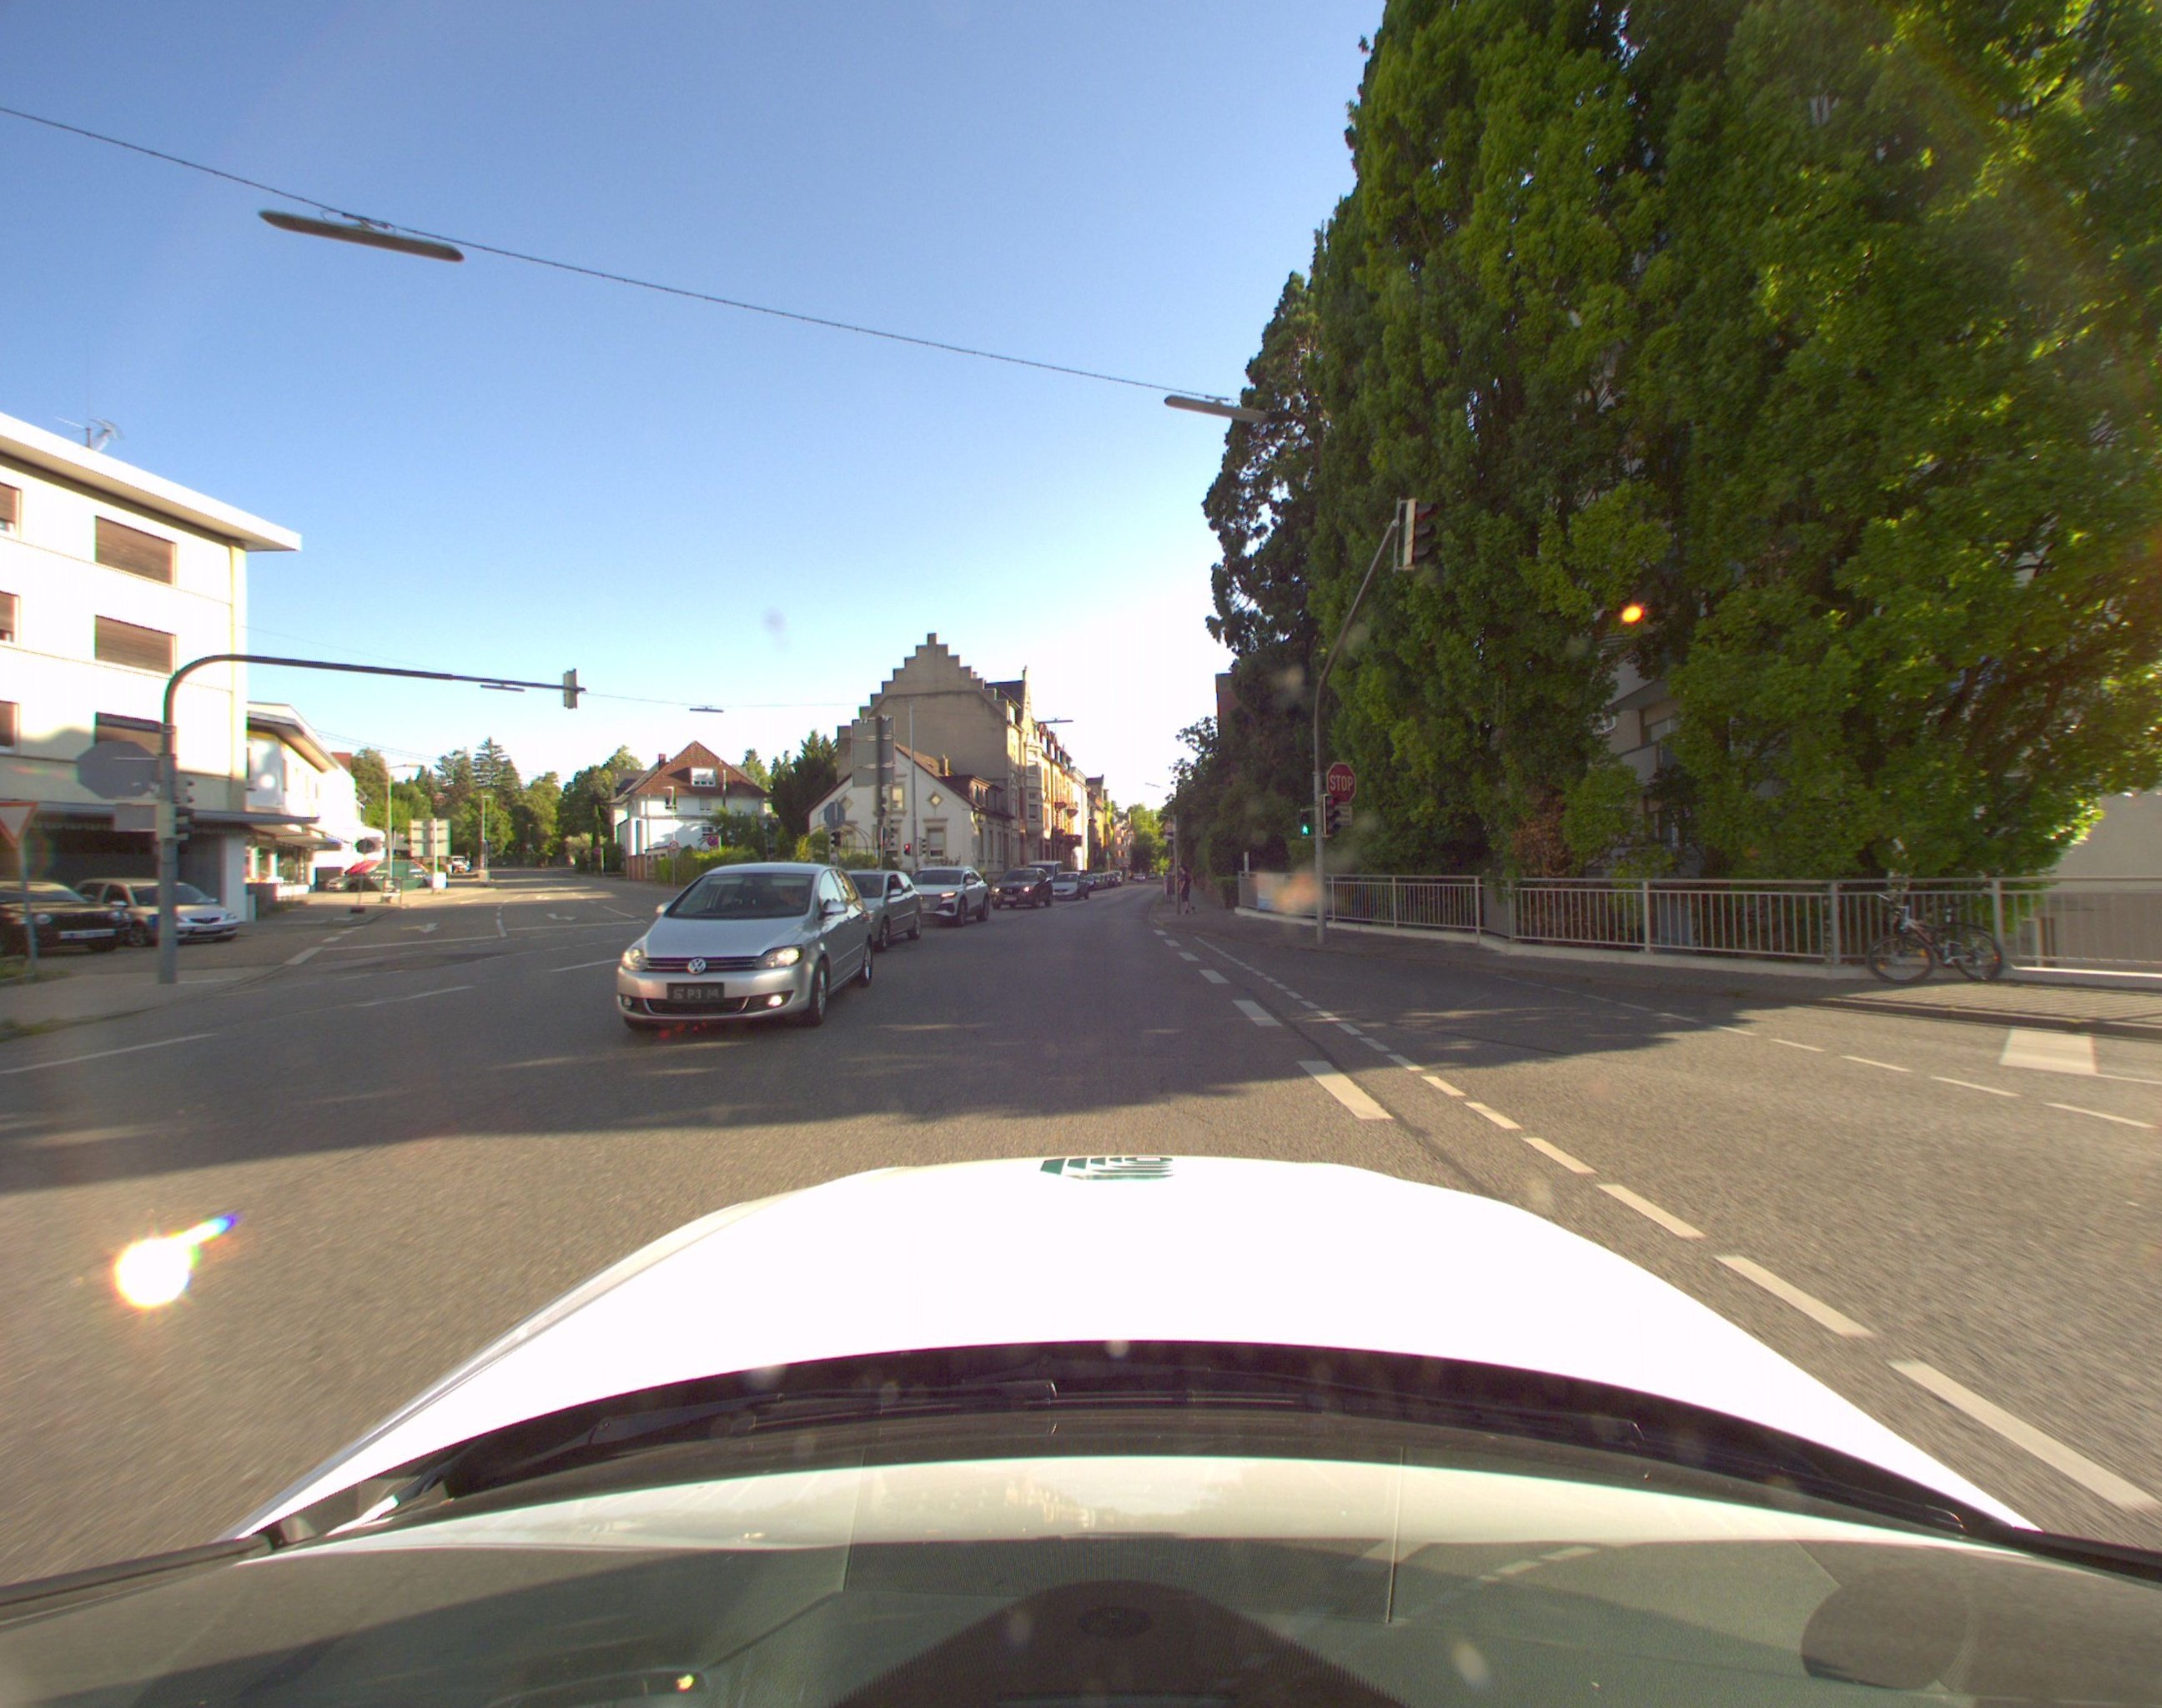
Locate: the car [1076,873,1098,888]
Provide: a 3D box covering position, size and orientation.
[{"bbox_3d":[0.586,2.415,74.683,1.694,1.367,3.865,0,-1,6],"label":"car"}]

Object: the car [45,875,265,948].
[{"bbox_3d":[-23.121,1.371,20.380,4.280,1.611,2.009,0,0,17],"label":"car"}]

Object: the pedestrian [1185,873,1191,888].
[{"bbox_3d":[10.209,2.489,77.619,0.595,1.403,0.669,0,0,5],"label":"pedestrian"}]

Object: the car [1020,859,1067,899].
[{"bbox_3d":[-2.365,1.588,53.309,2.057,2.460,6.026,0,-1,7],"label":"car"}]

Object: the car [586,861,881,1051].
[{"bbox_3d":[-3.382,0.864,8.816,1.773,1.543,3.993,0,0,-5],"label":"car"}]

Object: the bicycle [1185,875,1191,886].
[{"bbox_3d":[10.145,2.524,77.021,0.563,0.970,0.493,0,0,4],"label":"bicycle"}]

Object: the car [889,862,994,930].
[{"bbox_3d":[-3.749,1.078,22.674,1.767,1.648,4.540,0,0,5],"label":"car"}]

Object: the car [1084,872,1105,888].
[{"bbox_3d":[1.336,2.577,79.716,1.694,1.503,4.078,0,-2,6],"label":"car"}]

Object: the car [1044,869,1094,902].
[{"bbox_3d":[-0.615,1.733,45.677,1.941,1.648,4.295,0,0,10],"label":"car"}]

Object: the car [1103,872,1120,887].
[{"bbox_3d":[3.550,2.927,94.772,1.694,1.738,3.863,0,-1,6],"label":"car"}]

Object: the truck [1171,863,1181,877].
[{"bbox_3d":[20.413,3.380,174.182,1.983,2.897,4.478,-2,0,6],"label":"truck"}]

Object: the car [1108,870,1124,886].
[{"bbox_3d":[4.495,3.077,105.399,1.784,2.010,4.704,0,-1,6],"label":"car"}]

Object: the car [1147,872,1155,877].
[{"bbox_3d":[20.056,5.838,232.413,1.983,1.491,4.479,-2,0,7],"label":"car"}]

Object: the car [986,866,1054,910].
[{"bbox_3d":[-2.419,1.337,33.481,1.943,1.648,4.292,0,0,7],"label":"car"}]

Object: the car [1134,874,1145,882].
[{"bbox_3d":[11.925,4.841,166.376,1.983,1.491,4.479,-2,0,7],"label":"car"}]

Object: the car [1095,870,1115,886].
[{"bbox_3d":[2.619,2.564,88.987,1.693,1.708,4.449,0,-1,8],"label":"car"}]

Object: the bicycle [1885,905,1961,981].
[{"bbox_3d":[11.076,1.146,10.706,1.292,0.903,0.406,0,0,-30],"label":"bicycle"}]

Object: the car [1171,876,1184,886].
[{"bbox_3d":[15.778,4.401,133.415,1.982,1.517,4.009,-2,0,8],"label":"car"}]

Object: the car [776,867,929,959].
[{"bbox_3d":[-4.220,1.022,15.716,1.769,1.480,4.096,0,0,0],"label":"car"}]

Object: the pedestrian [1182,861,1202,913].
[{"bbox_3d":[3.737,1.109,27.450,0.599,1.693,0.613,-2,-1,6],"label":"pedestrian"}]

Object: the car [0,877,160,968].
[{"bbox_3d":[-22.736,1.401,17.667,4.280,1.715,2.009,0,0,16],"label":"car"}]
